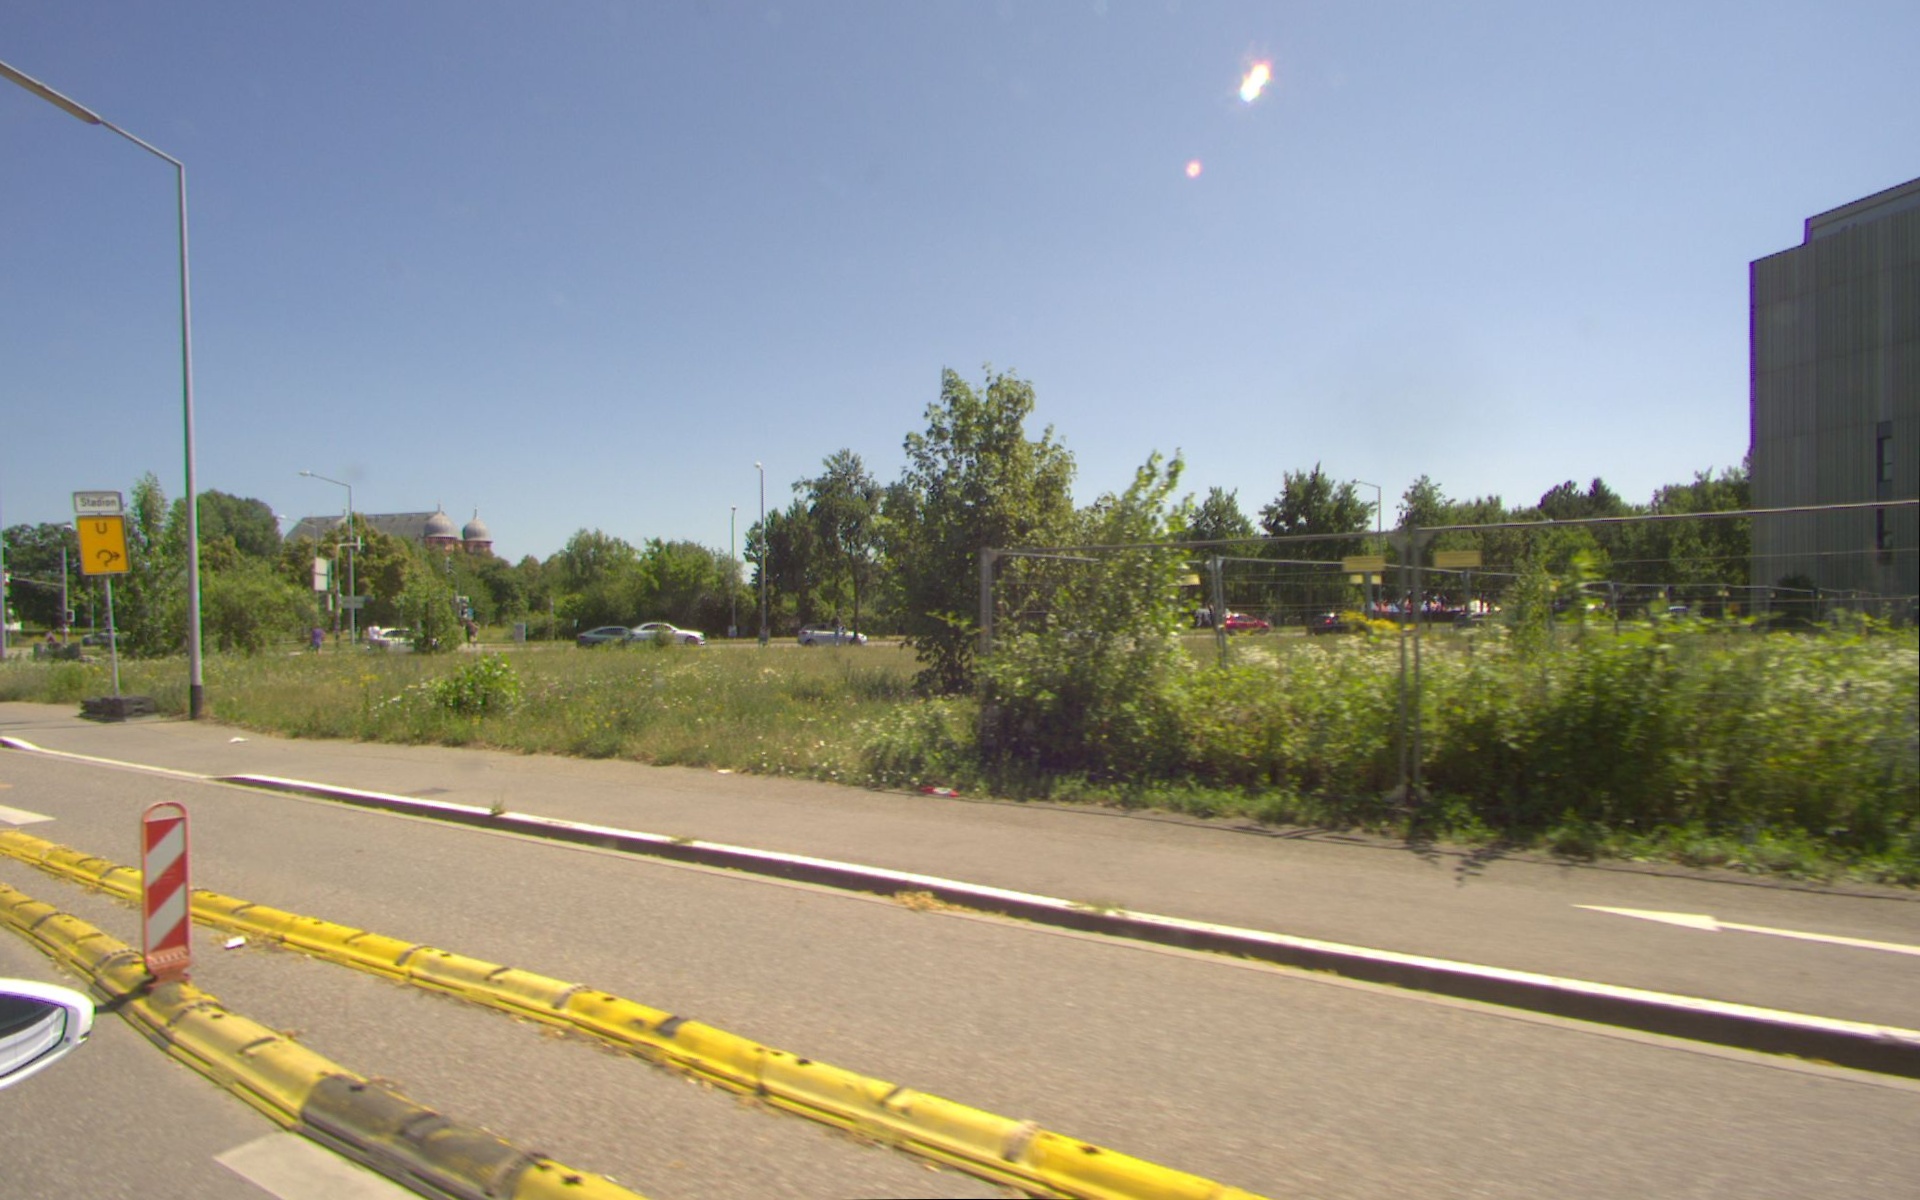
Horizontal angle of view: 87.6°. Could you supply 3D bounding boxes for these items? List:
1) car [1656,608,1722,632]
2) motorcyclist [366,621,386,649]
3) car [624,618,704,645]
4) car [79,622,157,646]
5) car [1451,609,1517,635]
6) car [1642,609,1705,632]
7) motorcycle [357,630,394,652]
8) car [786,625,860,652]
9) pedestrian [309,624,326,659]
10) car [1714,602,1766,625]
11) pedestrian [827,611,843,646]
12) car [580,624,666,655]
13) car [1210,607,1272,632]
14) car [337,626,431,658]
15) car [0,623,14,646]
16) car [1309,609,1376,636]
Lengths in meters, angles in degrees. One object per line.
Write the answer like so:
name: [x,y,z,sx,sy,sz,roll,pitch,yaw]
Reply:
car: [55.433,1.544,76.177,3.924,1.772,1.808,0,-1,-10]
motorcyclist: [-26.927,1.607,46.169,0.570,1.306,0.615,0,-1,3]
car: [-17.885,1.917,60.665,4.559,1.572,1.738,0,-2,-16]
car: [-67.506,2.752,80.287,5.083,1.810,2.025,-1,0,12]
car: [36.826,1.568,70.429,3.928,1.772,1.806,0,-1,-15]
car: [56.908,1.665,79.904,3.924,1.772,1.808,0,-1,-10]
motorcycle: [-26.902,1.897,46.121,0.619,0.982,1.709,0,-2,3]
car: [-7.937,2.215,57.903,4.002,1.524,1.998,0,-2,-15]
pedestrian: [-29.296,1.891,45.654,0.506,1.583,0.496,-1,-1,32]
car: [72.340,1.261,92.897,3.931,2.039,1.996,0,-2,-19]
pedestrian: [-6.294,1.430,50.250,0.724,1.712,0.498,0,-1,-18]
car: [-18.306,2.146,54.381,4.335,1.571,1.736,2,-2,-21]
car: [20.209,1.383,72.077,3.924,1.772,1.808,0,-1,-10]
car: [-28.597,2.078,49.857,3.938,1.572,1.734,1,-2,-26]
car: [-80.089,2.820,80.932,4.842,1.810,2.023,-1,0,-15]
car: [25.733,1.505,67.405,3.928,1.772,1.806,0,-1,-15]
